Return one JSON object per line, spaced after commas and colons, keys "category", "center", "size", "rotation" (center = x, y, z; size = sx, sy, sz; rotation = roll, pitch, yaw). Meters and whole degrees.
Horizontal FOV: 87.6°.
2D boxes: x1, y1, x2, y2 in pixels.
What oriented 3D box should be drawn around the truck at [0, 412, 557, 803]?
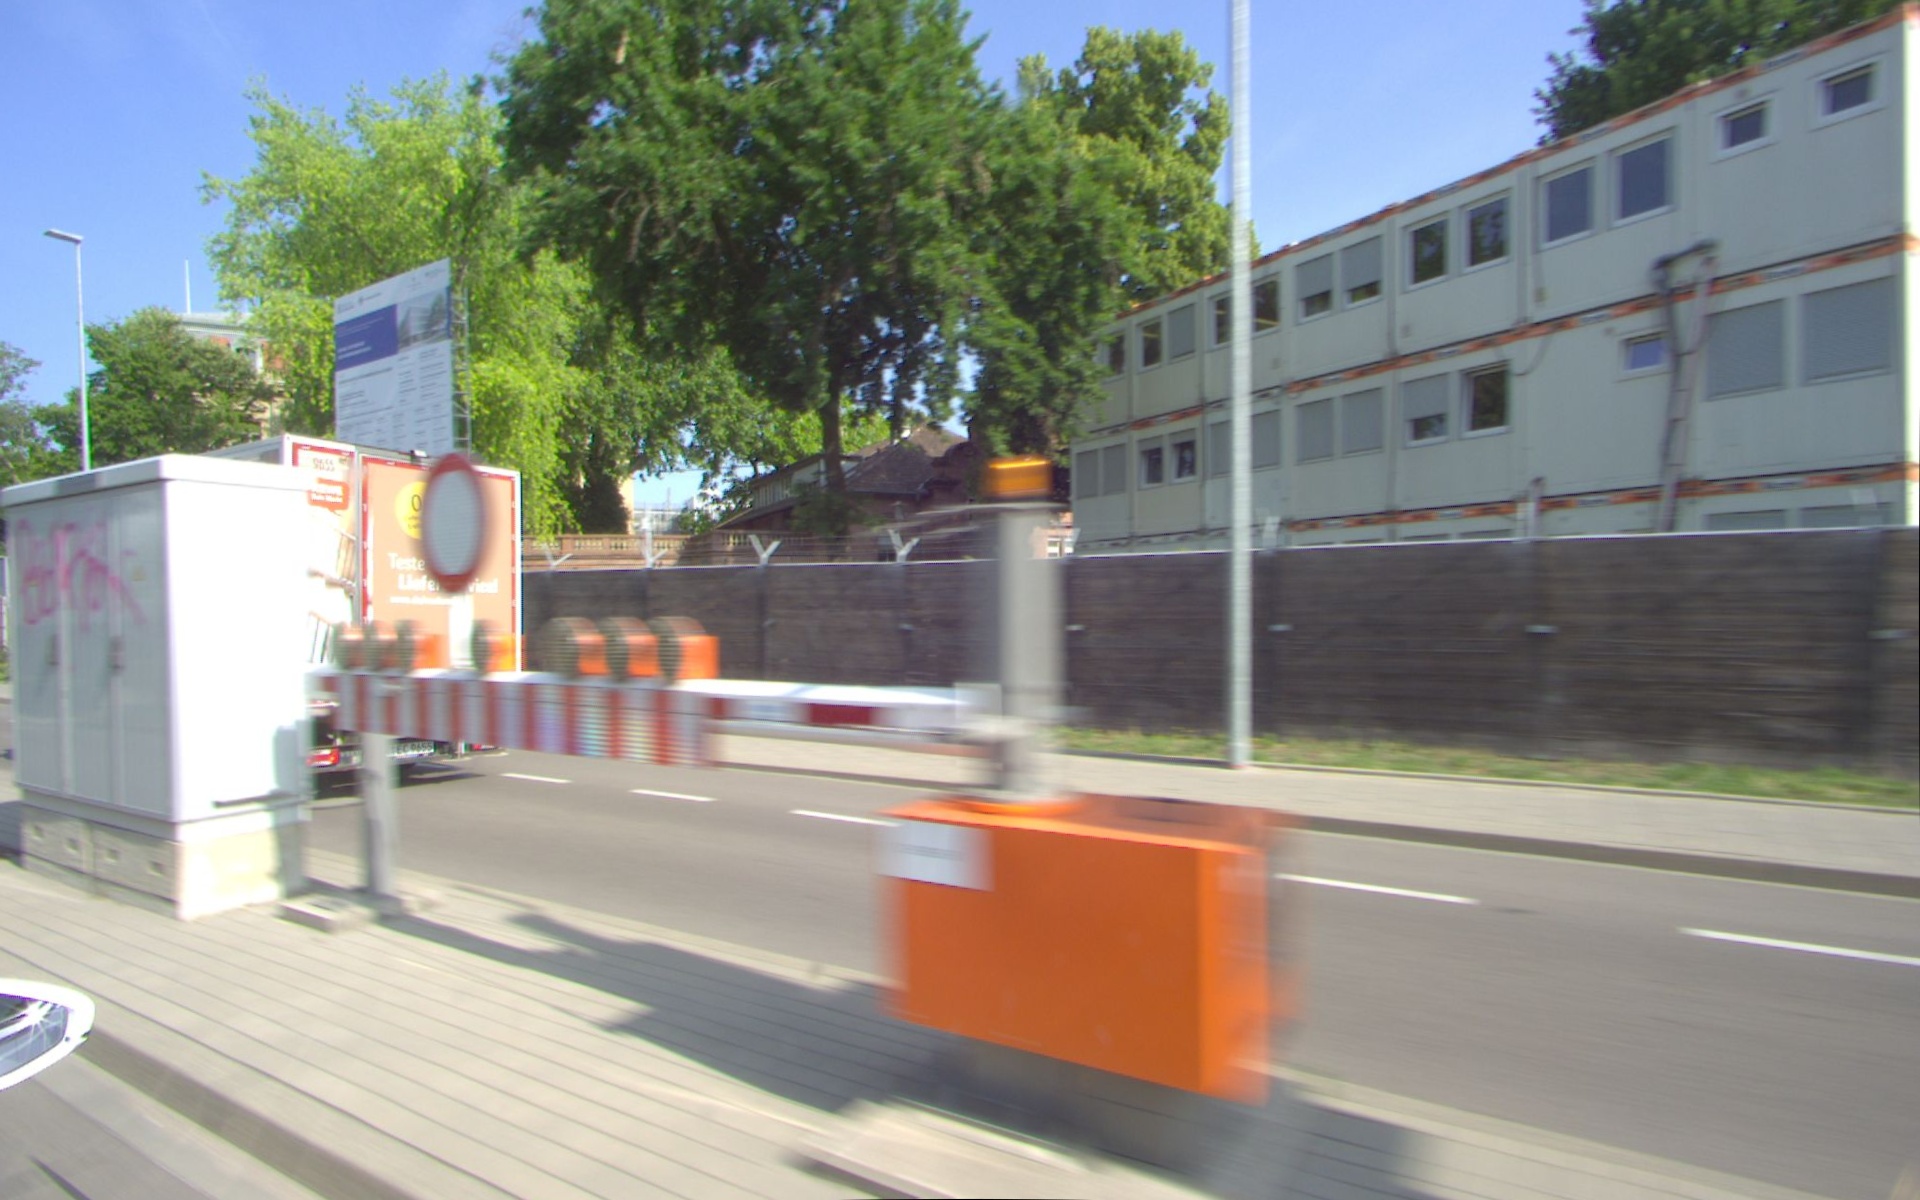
{"category": "truck", "center": [-7.998, 0.177, 11.029], "size": [7.706, 3.099, 2.499], "rotation": [-1, -2, 31]}
